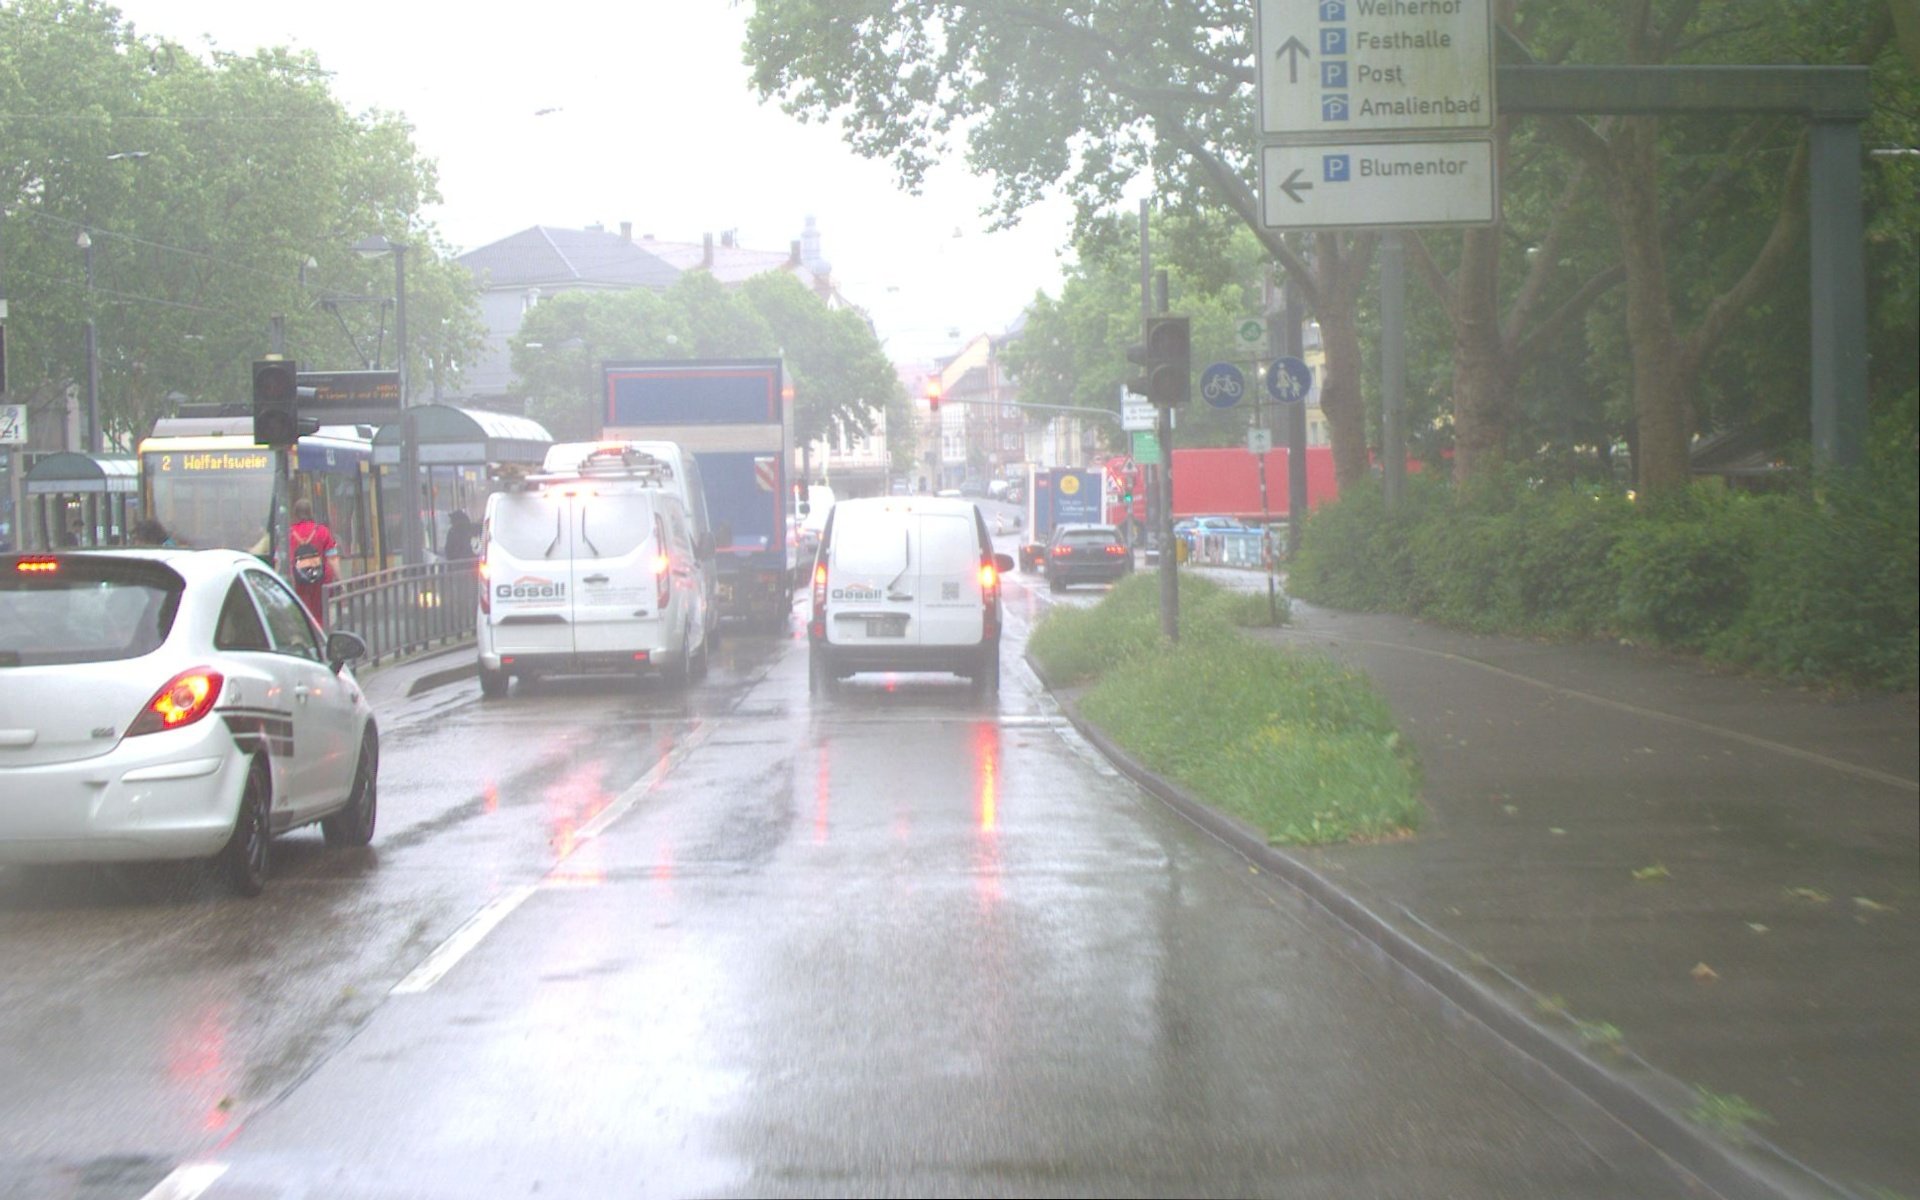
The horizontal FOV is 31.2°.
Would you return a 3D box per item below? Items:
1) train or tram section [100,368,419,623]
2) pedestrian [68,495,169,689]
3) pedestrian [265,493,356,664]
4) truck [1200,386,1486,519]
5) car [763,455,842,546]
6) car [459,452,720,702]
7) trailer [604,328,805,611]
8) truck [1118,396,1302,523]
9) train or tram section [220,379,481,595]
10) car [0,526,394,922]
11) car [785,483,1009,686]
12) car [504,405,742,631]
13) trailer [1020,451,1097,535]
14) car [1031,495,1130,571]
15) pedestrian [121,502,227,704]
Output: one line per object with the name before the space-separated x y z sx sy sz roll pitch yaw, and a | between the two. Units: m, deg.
train or tram section | -10.077 -1.598 50.437 2.961 3.274 8.362 -3 3 -1
pedestrian | -7.693 -0.079 31.464 0.677 1.732 0.808 -2 1 -1
pedestrian | -6.570 -0.219 34.801 0.790 1.708 0.771 0 0 -1
truck | 15.952 -6.151 142.928 11.368 4.882 3.288 -3 3 11
car | -4.300 -2.741 94.458 1.993 2.433 4.612 0 2 -1
car | -3.584 -0.258 34.189 1.993 2.254 5.289 -1 1 0
trailer | -3.733 -1.953 51.795 2.590 3.886 7.637 -1 2 -2
truck | 10.492 -5.910 143.976 7.160 4.882 3.288 -3 3 11
train or tram section | -10.268 -1.988 58.831 2.979 3.274 8.433 -3 3 -1
car | -3.620 0.442 14.843 1.725 1.474 3.806 -1 1 0
car | -0.575 -0.166 32.402 1.959 1.771 3.570 -1 1 0
car | -4.071 -0.994 42.657 2.329 2.548 6.115 -1 1 0
trailer | 2.801 -3.032 98.698 1.993 2.309 4.669 -1 1 0
car | 2.653 -1.481 74.955 1.994 1.536 4.000 -2 2 4
pedestrian | -6.902 0.016 30.217 0.715 1.738 0.751 -2 1 -1
